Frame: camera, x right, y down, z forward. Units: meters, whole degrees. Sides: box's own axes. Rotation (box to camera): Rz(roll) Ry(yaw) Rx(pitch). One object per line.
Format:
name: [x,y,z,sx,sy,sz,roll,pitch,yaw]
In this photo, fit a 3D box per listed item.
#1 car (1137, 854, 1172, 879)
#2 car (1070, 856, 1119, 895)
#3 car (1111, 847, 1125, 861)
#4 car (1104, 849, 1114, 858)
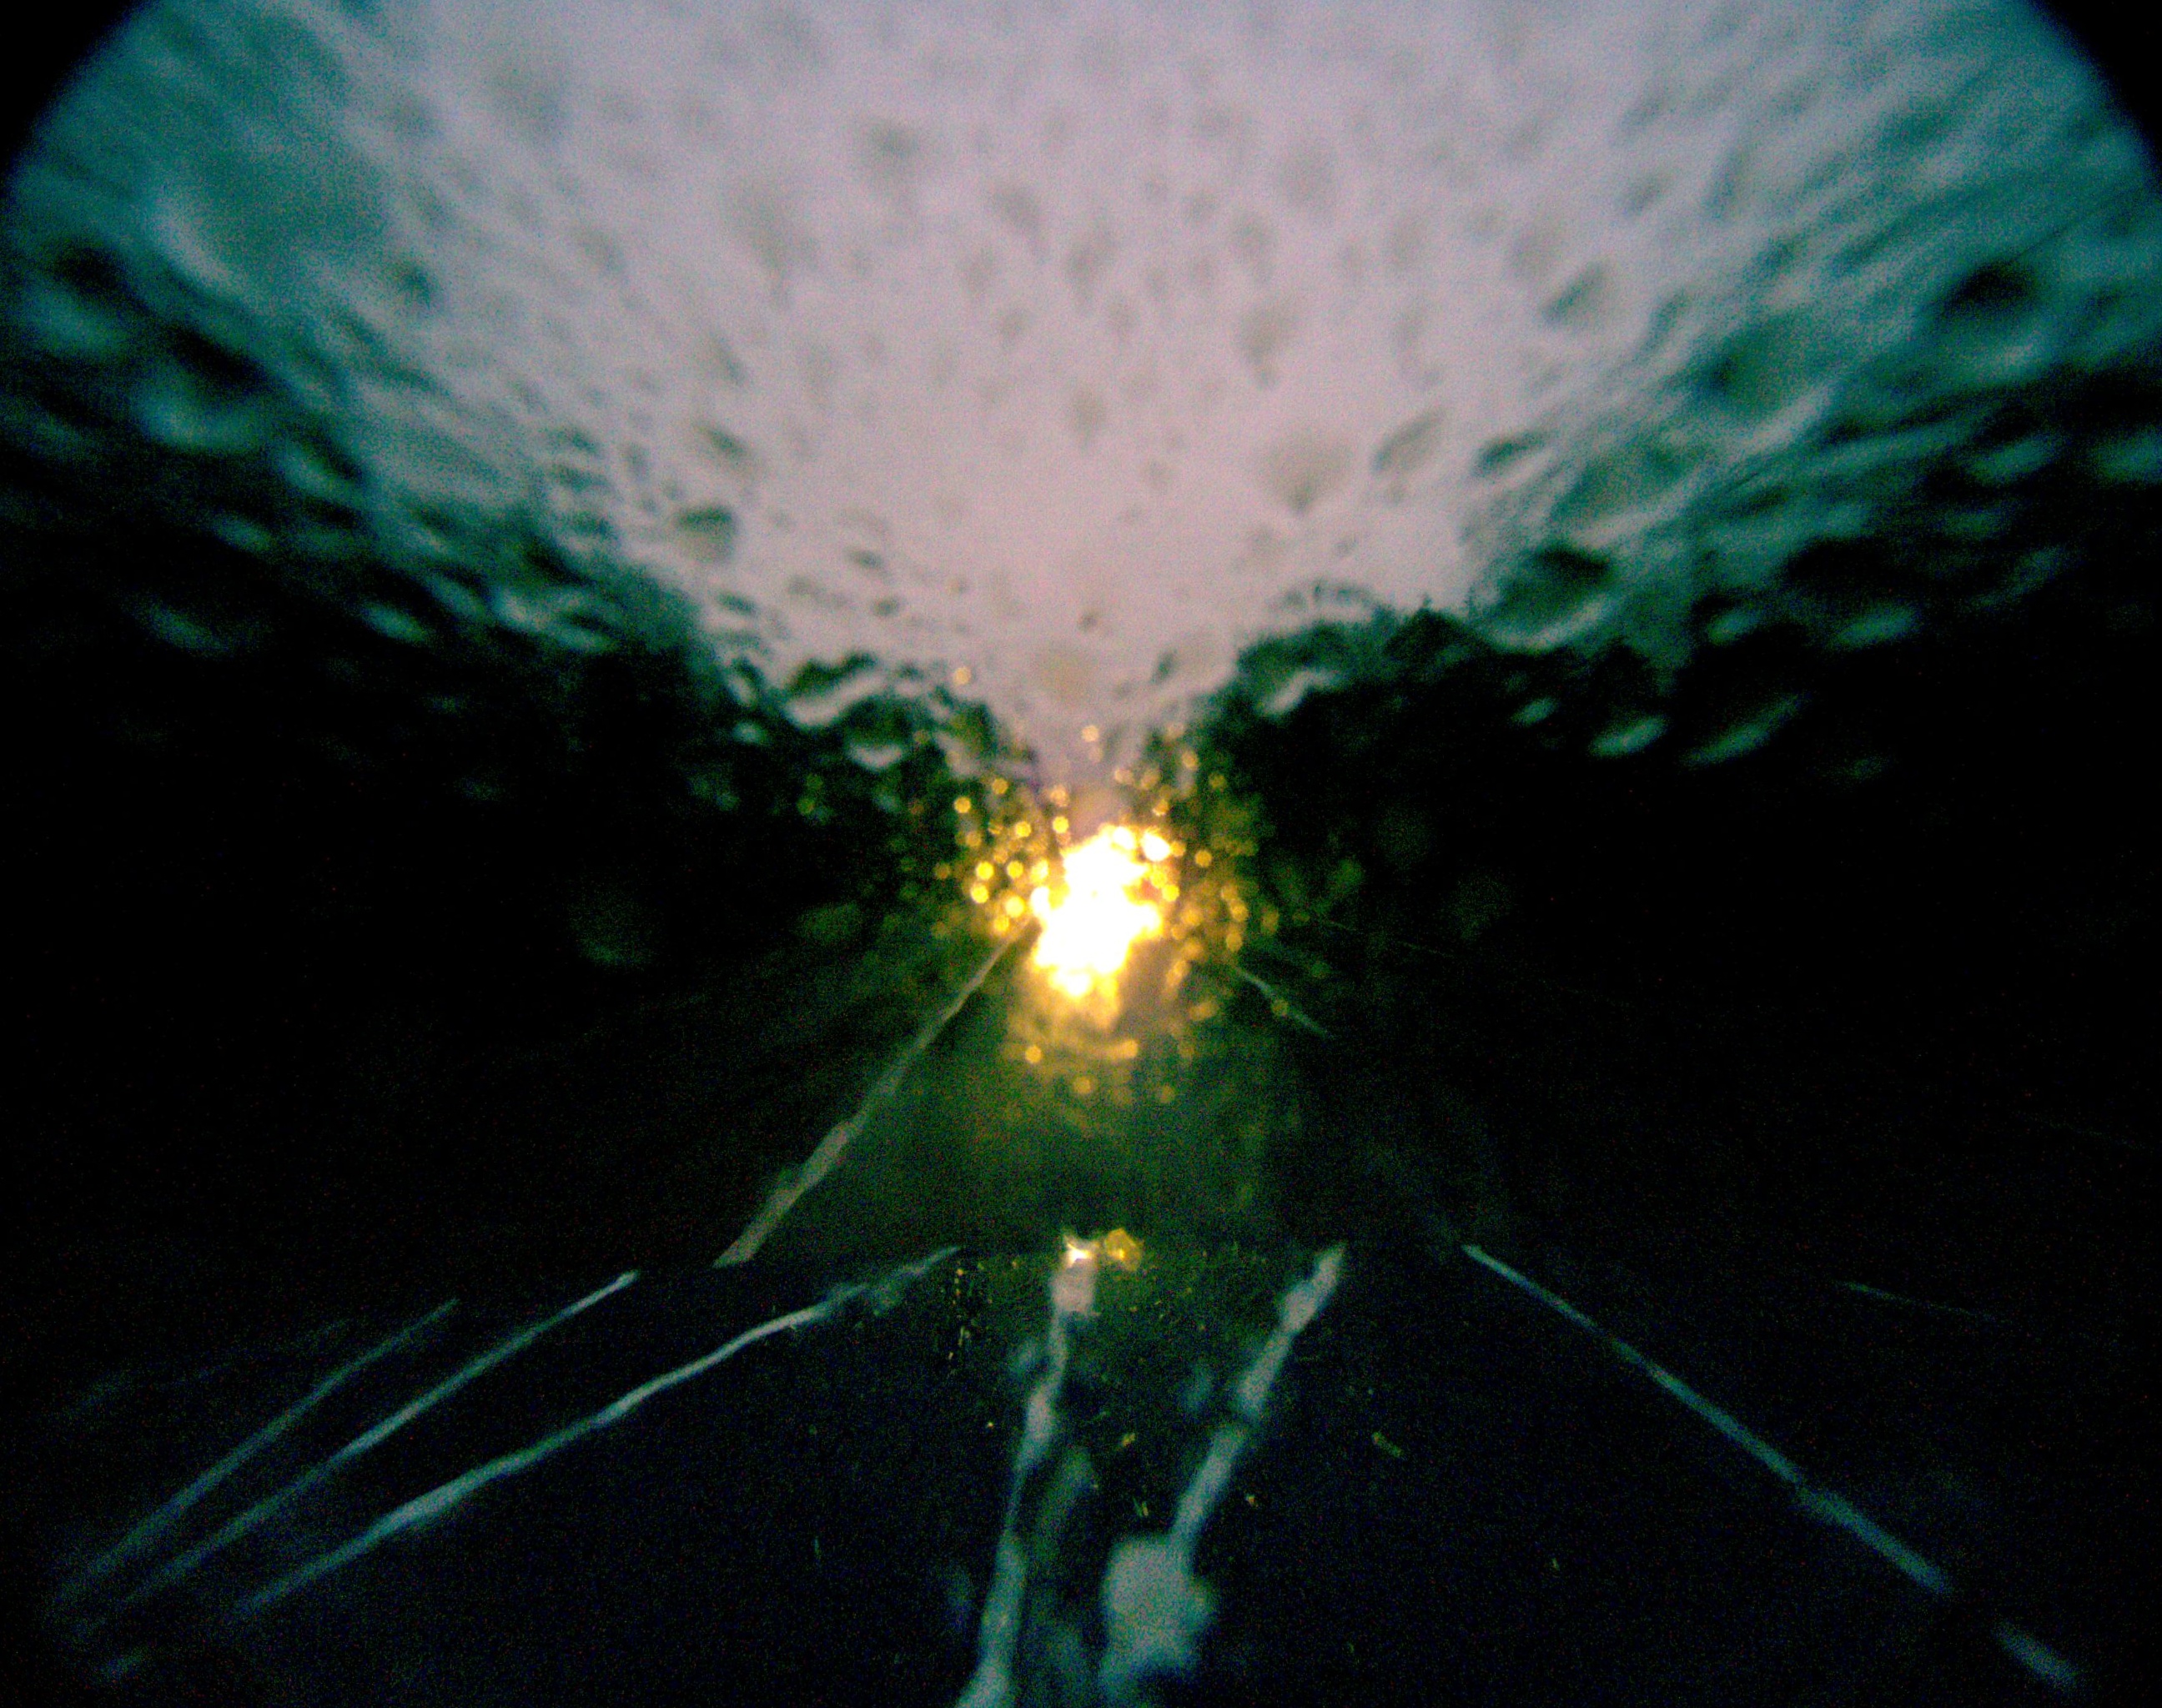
car: [4.327,0.723,45.209,1.623,1.381,4.071,-1,0,0]
car: [0.559,0.813,30.774,1.845,1.390,4.000,-1,0,1]
car: [5.075,-0.030,104.686,1.710,1.812,4.285,-1,1,1]
car: [4.887,-0.106,132.749,1.585,1.542,3.999,-2,1,0]
